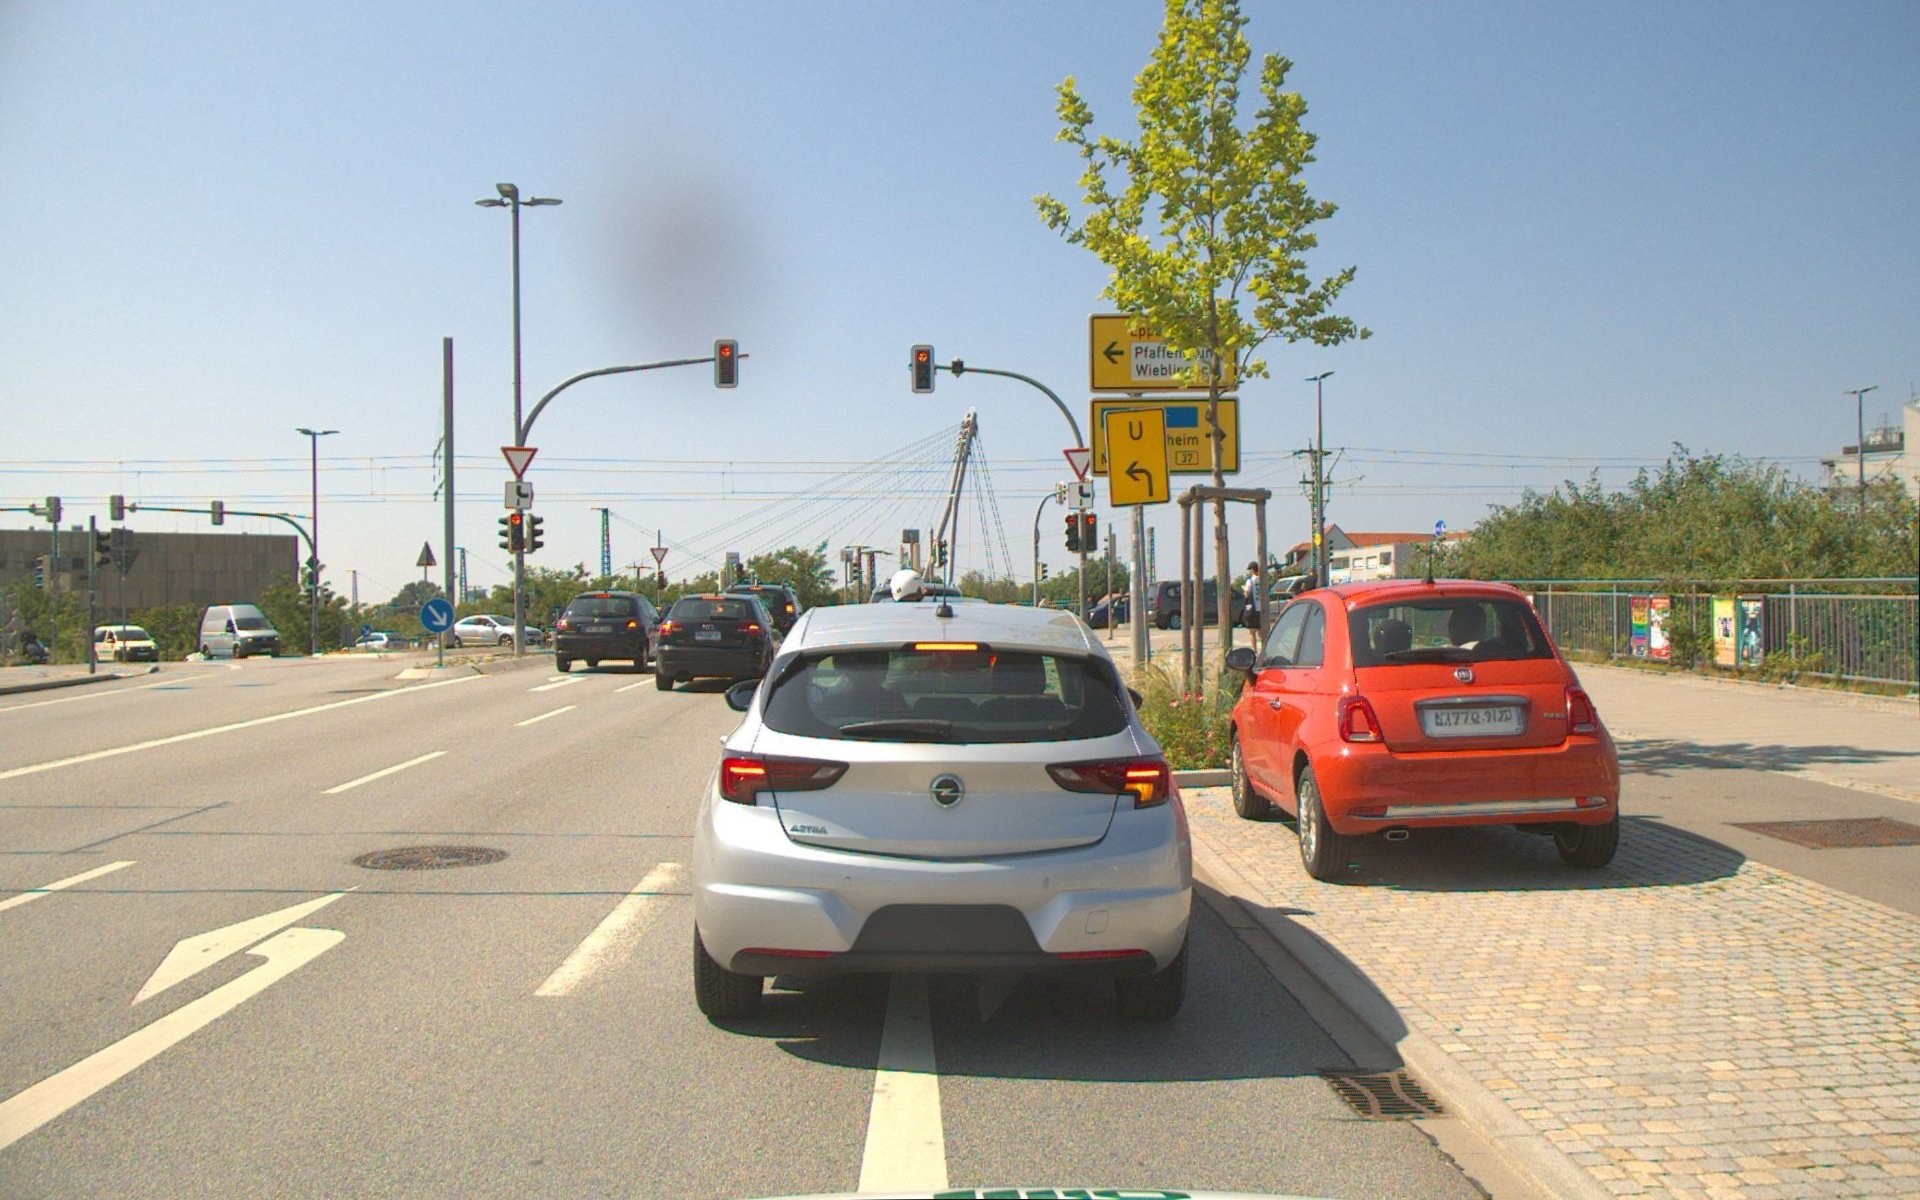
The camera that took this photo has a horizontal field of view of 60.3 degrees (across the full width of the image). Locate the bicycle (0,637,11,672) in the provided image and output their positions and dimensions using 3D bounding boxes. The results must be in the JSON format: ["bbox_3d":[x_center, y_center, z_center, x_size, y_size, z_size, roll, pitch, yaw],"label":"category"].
[{"bbox_3d":[-33.659,1.919,56.582,2.474,1.154,0.728,-4,-2,25],"label":"bicycle"}]

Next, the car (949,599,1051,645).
[{"bbox_3d":[1.514,0.848,63.484,3.769,1.713,1.663,1,-1,-5],"label":"car"}]

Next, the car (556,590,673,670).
[{"bbox_3d":[-6.384,0.548,30.855,1.555,1.419,3.338,0,-1,-1],"label":"car"}]

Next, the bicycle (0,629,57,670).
[{"bbox_3d":[-28.132,1.461,49.354,2.308,1.147,0.677,1,-1,19],"label":"bicycle"}]

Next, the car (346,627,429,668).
[{"bbox_3d":[-29.719,2.457,85.876,3.912,2.049,1.996,0,-1,30],"label":"car"}]

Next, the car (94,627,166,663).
[{"bbox_3d":[-38.069,2.035,75.871,3.430,1.550,1.632,1,-1,38],"label":"car"}]

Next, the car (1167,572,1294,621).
[{"bbox_3d":[10.567,-0.122,64.697,4.469,1.815,1.993,1,-1,-13],"label":"car"}]

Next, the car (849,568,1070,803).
[{"bbox_3d":[-0.051,0.658,14.155,1.602,1.703,3.743,1,-1,-2],"label":"car"}]

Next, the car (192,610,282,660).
[{"bbox_3d":[-32.850,1.560,75.109,4.749,2.156,1.788,1,-1,40],"label":"car"}]

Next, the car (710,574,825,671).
[{"bbox_3d":[-3.610,0.434,31.657,1.767,1.650,3.915,-3,-1,-2],"label":"car"}]

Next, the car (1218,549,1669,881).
[{"bbox_3d":[2.667,0.584,10.056,1.635,1.567,3.917,-2,-1,1],"label":"car"}]

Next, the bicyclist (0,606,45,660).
[{"bbox_3d":[-28.060,0.984,49.392,0.926,1.596,0.823,1,-1,20],"label":"bicyclist"}]

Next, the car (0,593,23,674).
[{"bbox_3d":[-25.562,0.847,43.352,1.652,2.049,3.961,2,-1,-29],"label":"car"}]

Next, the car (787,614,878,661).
[{"bbox_3d":[-5.830,1.693,76.103,3.903,2.049,2.001,1,-1,3],"label":"car"}]

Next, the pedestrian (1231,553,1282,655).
[{"bbox_3d":[5.542,0.074,30.963,0.743,1.862,0.884,1,-1,-1],"label":"pedestrian"}]

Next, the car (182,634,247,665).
[{"bbox_3d":[-44.277,2.927,98.238,4.129,1.674,1.824,1,-1,39],"label":"car"}]

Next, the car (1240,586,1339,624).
[{"bbox_3d":[15.525,0.257,77.966,4.180,1.703,1.990,1,-1,-18],"label":"car"}]

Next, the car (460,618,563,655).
[{"bbox_3d":[-17.665,1.434,65.195,3.629,1.356,1.770,1,-1,25],"label":"car"}]

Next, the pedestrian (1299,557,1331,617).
[{"bbox_3d":[11.273,-0.408,52.499,0.741,1.896,0.737,0,-1,44],"label":"pedestrian"}]

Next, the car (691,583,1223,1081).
[{"bbox_3d":[-0.056,0.731,7.309,1.656,1.546,4.269,0,0,-1],"label":"car"}]

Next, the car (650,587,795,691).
[{"bbox_3d":[-3.588,0.577,25.645,1.671,1.437,3.999,2,-1,-1],"label":"car"}]
